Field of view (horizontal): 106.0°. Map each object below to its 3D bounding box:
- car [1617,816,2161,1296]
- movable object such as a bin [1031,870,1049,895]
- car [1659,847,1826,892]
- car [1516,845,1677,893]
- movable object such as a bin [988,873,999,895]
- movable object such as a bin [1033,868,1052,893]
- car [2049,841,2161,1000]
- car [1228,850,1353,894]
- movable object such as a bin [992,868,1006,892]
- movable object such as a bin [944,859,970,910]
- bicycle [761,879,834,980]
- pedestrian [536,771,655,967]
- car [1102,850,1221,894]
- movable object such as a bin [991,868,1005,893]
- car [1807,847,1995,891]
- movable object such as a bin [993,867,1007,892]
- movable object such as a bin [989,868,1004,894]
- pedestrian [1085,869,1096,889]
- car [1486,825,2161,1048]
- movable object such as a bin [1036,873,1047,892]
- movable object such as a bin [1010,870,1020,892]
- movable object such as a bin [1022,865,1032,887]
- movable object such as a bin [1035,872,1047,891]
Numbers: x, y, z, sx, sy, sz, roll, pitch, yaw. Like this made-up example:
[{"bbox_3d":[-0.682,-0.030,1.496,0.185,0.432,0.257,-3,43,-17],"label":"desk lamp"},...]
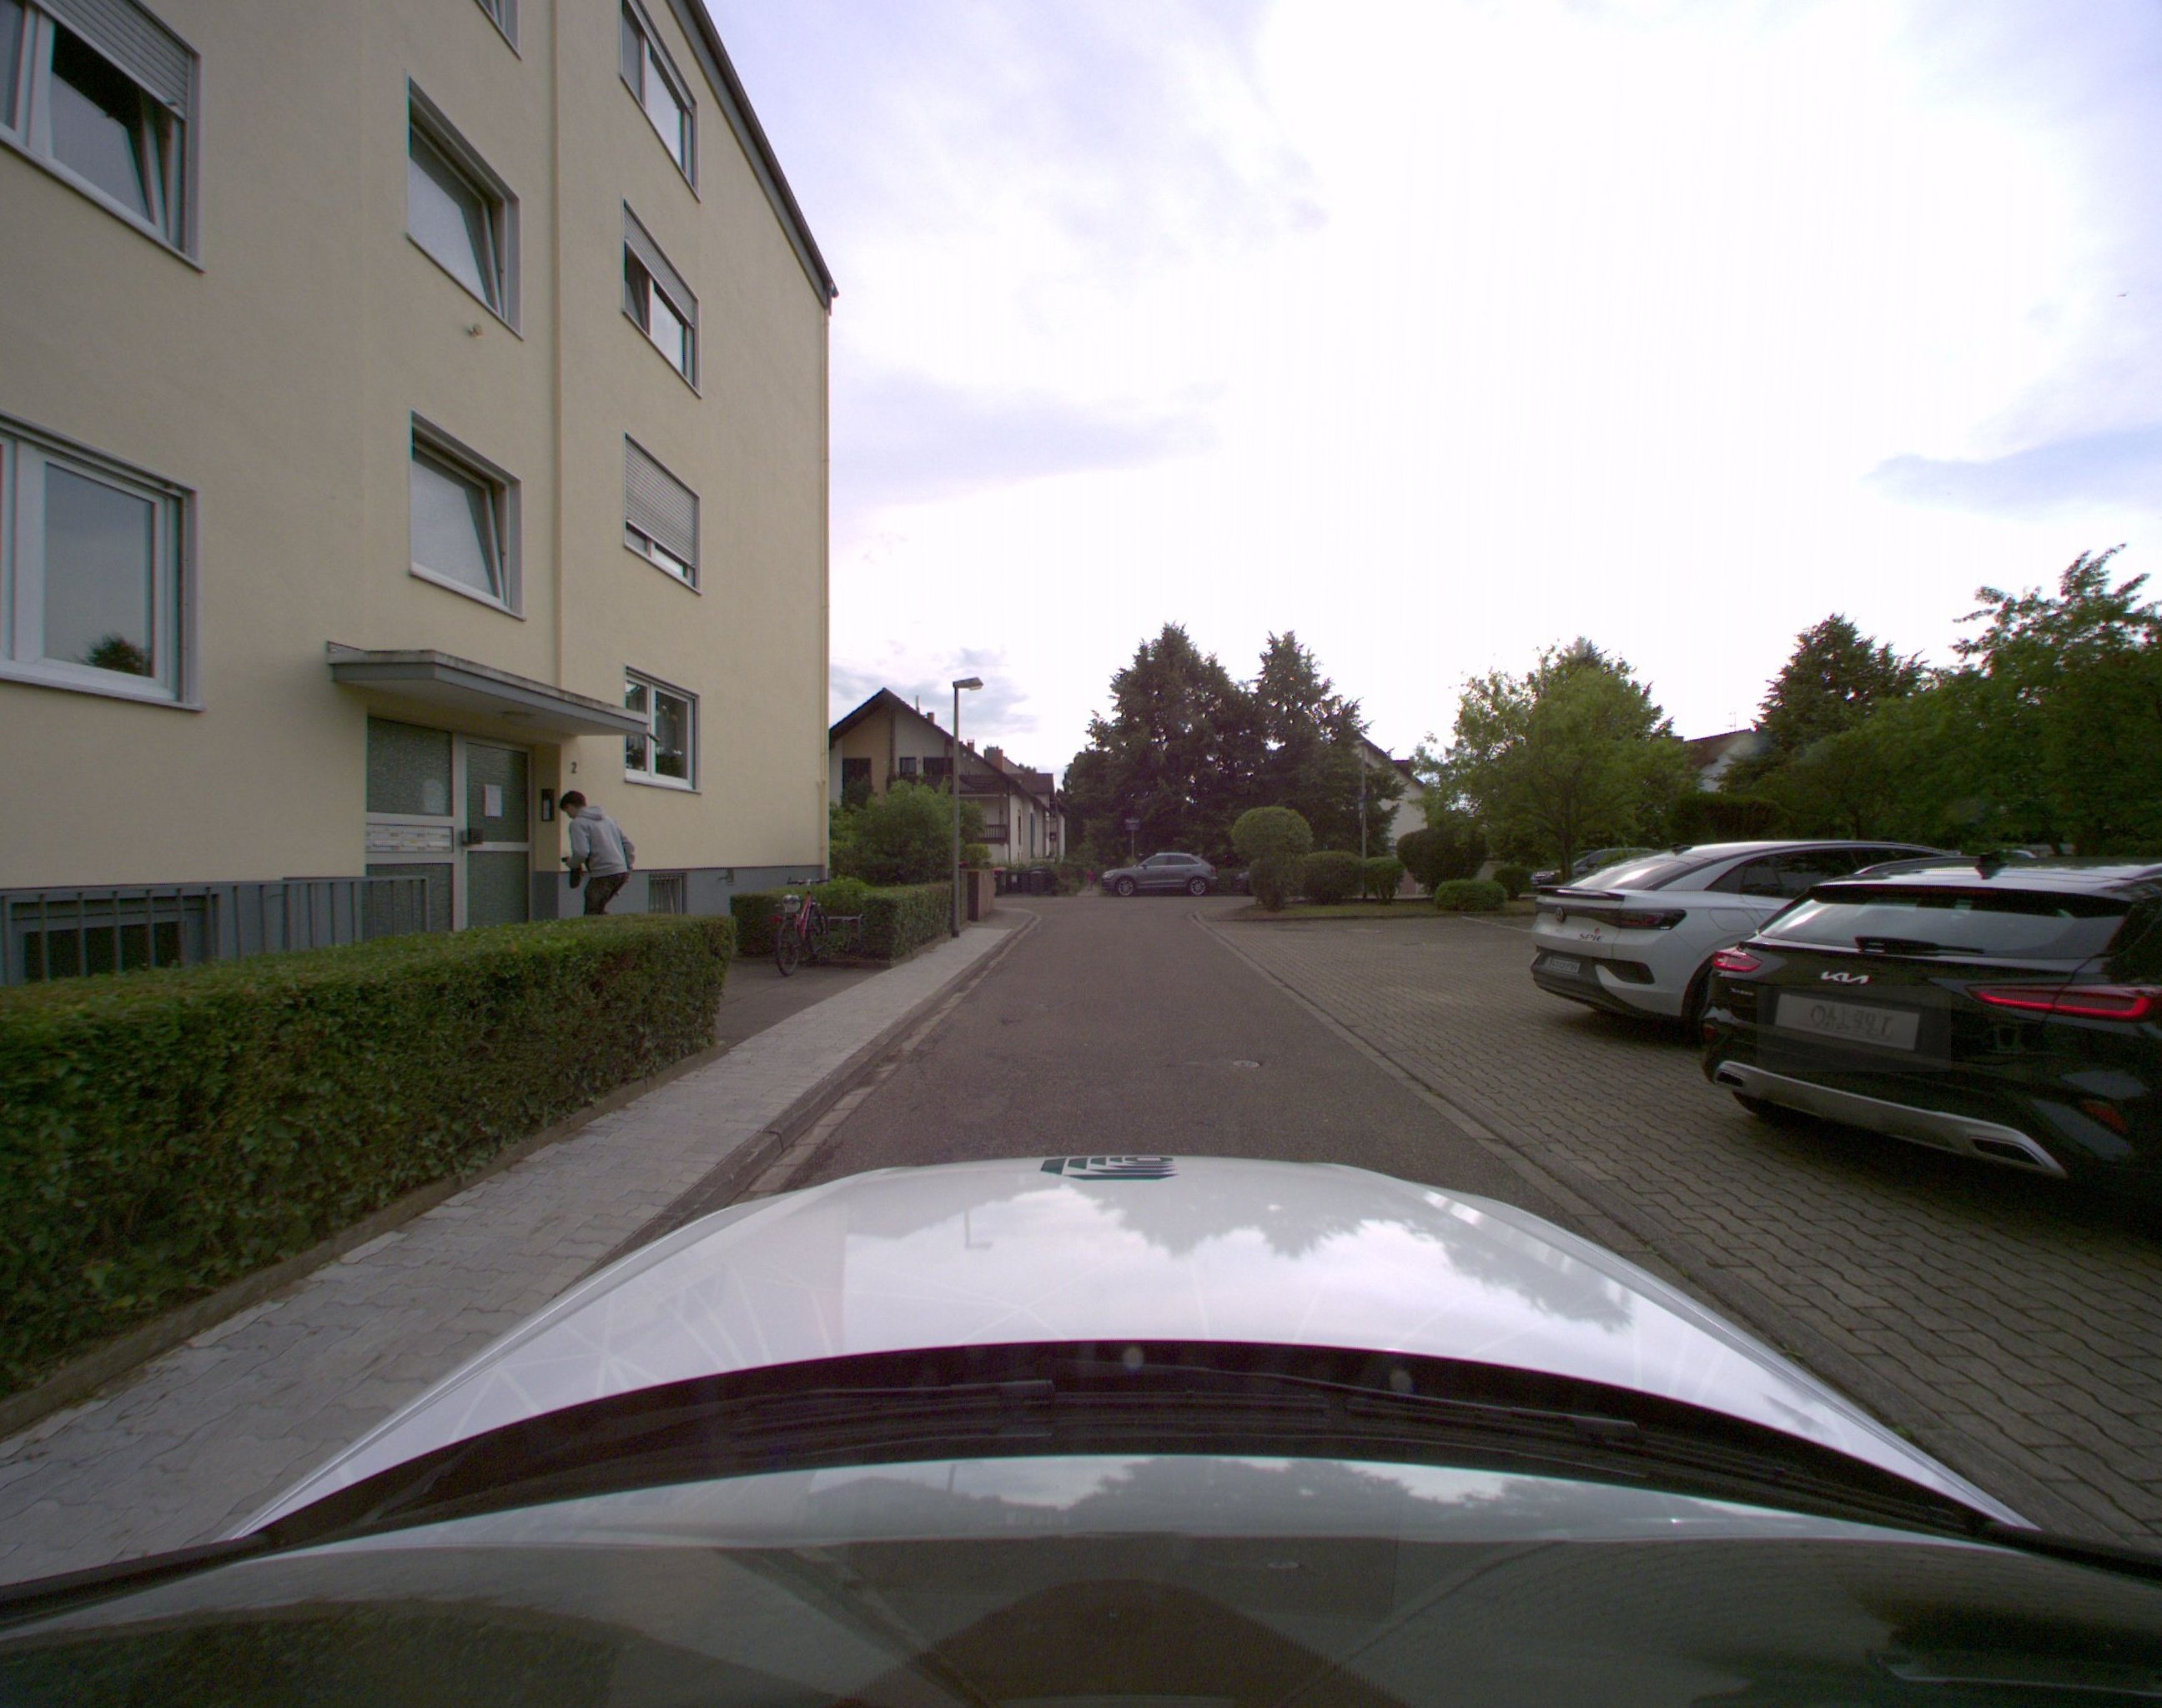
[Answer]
[{"bbox_3d":[5.265,0.618,4.189,3.993,1.552,1.990,-3,0,-14],"label":"car"},{"bbox_3d":[-1.612,1.115,32.058,0.636,0.953,0.723,0,0,0],"label":"movable object such as a bin"},{"bbox_3d":[23.186,0.561,28.683,4.269,1.479,1.766,-1,-2,6],"label":"car"},{"bbox_3d":[18.179,0.563,28.864,4.518,1.594,1.764,-1,-2,3],"label":"car"},{"bbox_3d":[-3.415,1.169,31.732,0.385,0.836,0.379,0,0,-1],"label":"movable object such as a bin"},{"bbox_3d":[-1.557,1.069,32.899,0.731,0.953,0.584,0,0,1],"label":"movable object such as a bin"},{"bbox_3d":[11.350,0.555,6.926,3.883,1.380,1.972,-1,0,1],"label":"car"},{"bbox_3d":[7.476,0.666,29.415,4.160,1.531,1.750,-1,-2,6],"label":"car"},{"bbox_3d":[-3.337,1.052,32.995,0.535,0.994,0.337,0,0,-1],"label":"movable object such as a bin"},{"bbox_3d":[-2.987,0.727,19.578,0.503,1.187,0.515,-2,-1,0],"label":"movable object such as a bin"},{"bbox_3d":[-3.353,0.854,9.710,0.317,1.075,1.418,0,-1,2],"label":"bicycle"},{"bbox_3d":[-4.552,0.136,7.690,0.678,1.749,0.755,0,0,-5],"label":"pedestrian"},{"bbox_3d":[2.895,0.662,29.898,4.222,1.531,1.747,0,-2,1],"label":"car"},{"bbox_3d":[-3.332,1.068,32.635,0.535,0.994,0.337,0,0,-1],"label":"movable object such as a bin"},{"bbox_3d":[28.243,0.526,28.175,4.440,1.428,1.785,-1,-2,6],"label":"car"},{"bbox_3d":[-3.308,1.039,33.434,0.535,0.994,0.337,0,0,-1],"label":"movable object such as a bin"},{"bbox_3d":[-3.344,1.071,32.255,0.535,0.994,0.379,0,0,-1],"label":"movable object such as a bin"},{"bbox_3d":[0.717,1.930,63.138,0.812,1.517,0.438,-1,-1,-1],"label":"pedestrian"},{"bbox_3d":[6.192,0.603,6.913,4.518,1.588,1.990,-1,0,3],"label":"car"},{"bbox_3d":[-1.634,1.188,33.922,0.458,0.797,0.379,0,0,-1],"label":"movable object such as a bin"},{"bbox_3d":[-2.730,1.118,33.613,0.385,0.901,0.379,0,0,-1],"label":"movable object such as a bin"},{"bbox_3d":[-2.239,0.913,33.640,0.385,0.890,0.379,0,0,-1],"label":"movable object such as a bin"},{"bbox_3d":[-1.647,1.131,33.467,0.458,0.797,0.379,0,0,-1],"label":"movable object such as a bin"}]
